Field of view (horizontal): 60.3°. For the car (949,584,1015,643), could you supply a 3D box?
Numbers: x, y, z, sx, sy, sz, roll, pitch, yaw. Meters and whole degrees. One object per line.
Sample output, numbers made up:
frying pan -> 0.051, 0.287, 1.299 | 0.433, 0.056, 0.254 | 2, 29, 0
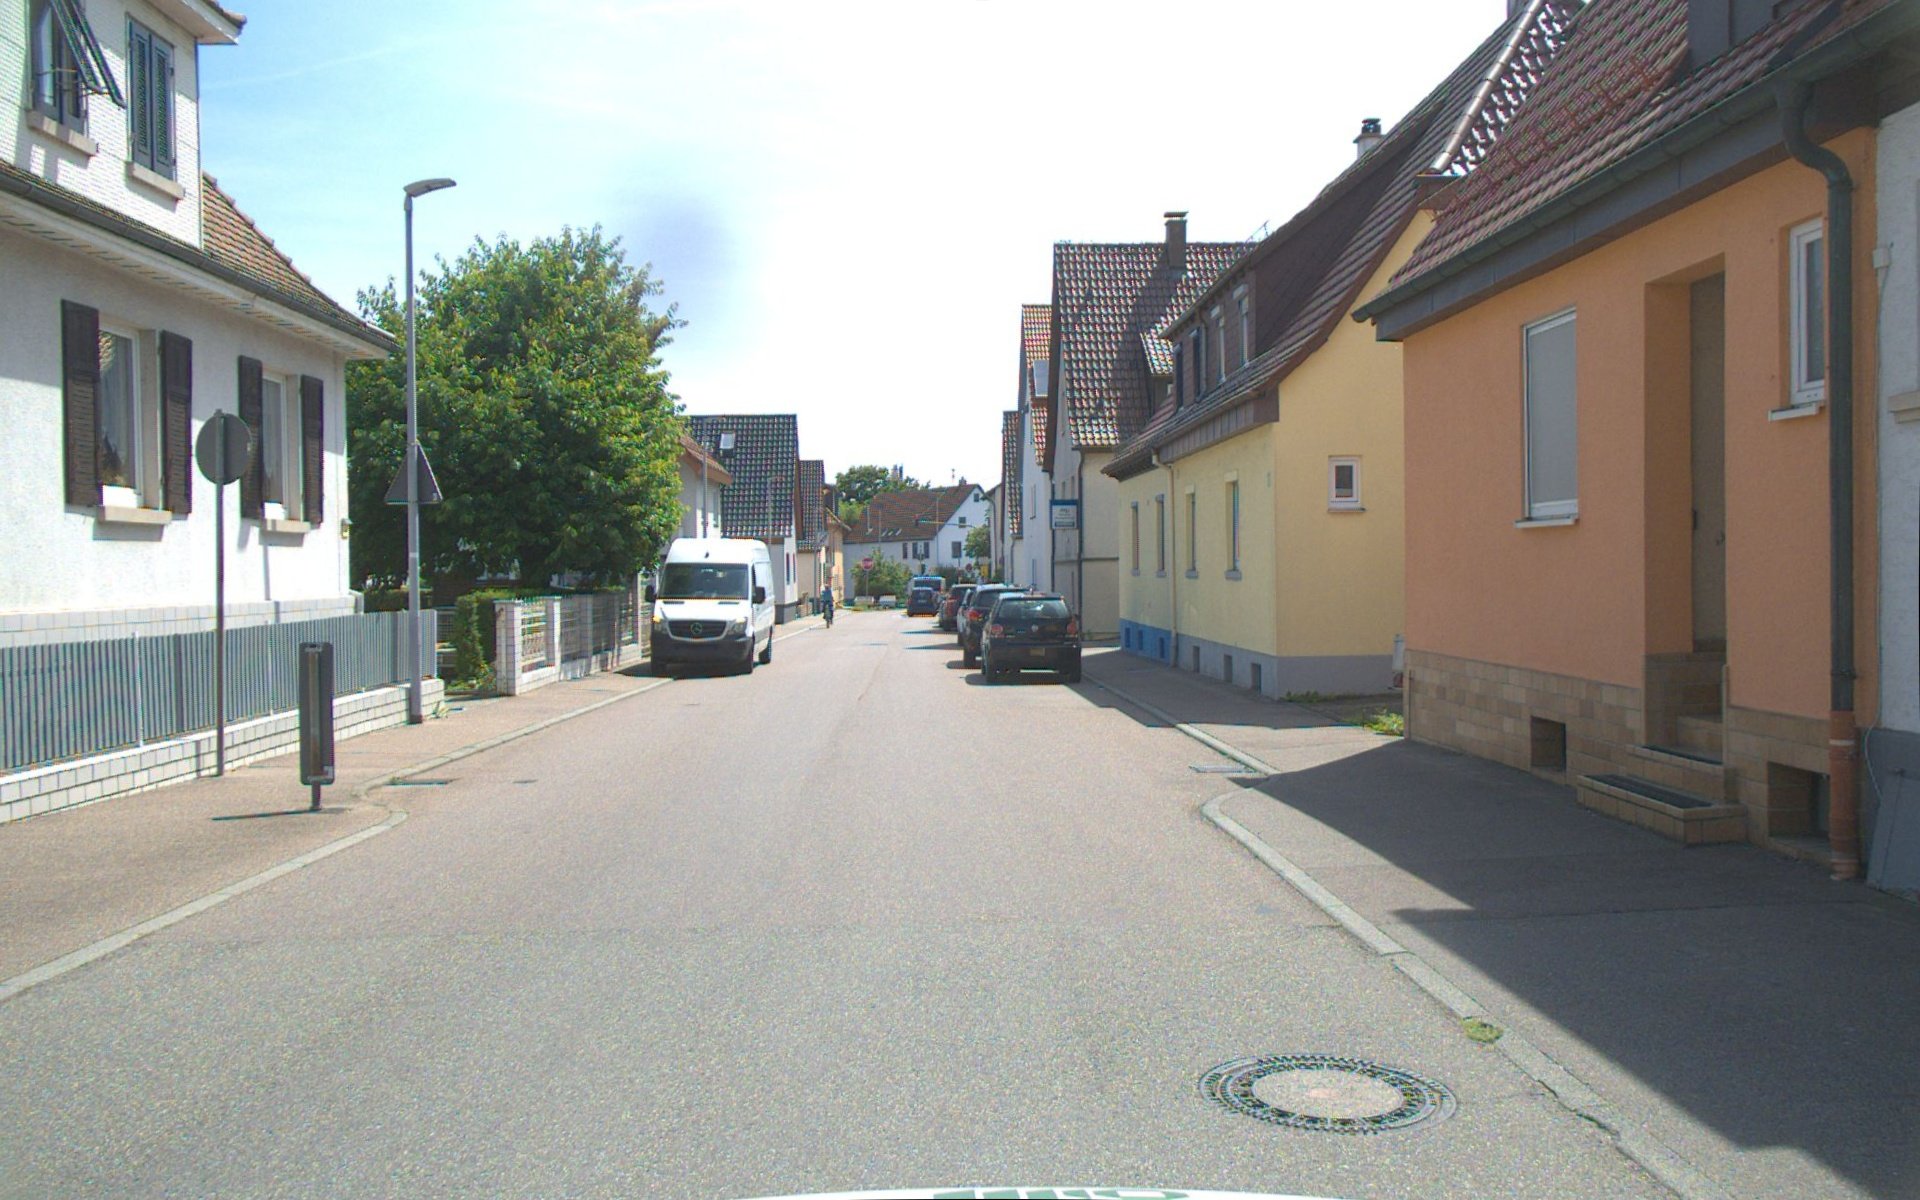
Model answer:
car -> 0.584, 0.358, 46.047 | 1.640, 1.586, 3.038 | 0, 0, -4

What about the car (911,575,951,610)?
car -> -1.836, -0.507, 106.309 | 2.084, 2.196, 4.739 | -1, 0, 4

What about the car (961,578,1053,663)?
car -> 0.910, 0.375, 34.115 | 1.693, 1.627, 4.252 | 0, 0, -1

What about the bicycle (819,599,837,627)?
bicycle -> -5.519, 0.533, 69.288 | 0.657, 1.152, 2.188 | 0, 0, -3

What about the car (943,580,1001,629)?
car -> 0.402, 0.133, 61.011 | 1.838, 1.730, 4.180 | 0, 0, -4

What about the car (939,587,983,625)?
car -> 0.045, 0.218, 67.252 | 1.727, 1.448, 4.591 | 0, 0, 0

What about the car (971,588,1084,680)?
car -> 1.103, 0.534, 28.562 | 1.579, 1.456, 3.751 | 0, 0, -4

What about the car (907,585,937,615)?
car -> -2.083, -0.013, 92.090 | 1.484, 1.594, 3.185 | 0, 0, 2

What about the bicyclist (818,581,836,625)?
bicyclist -> -5.583, 0.125, 69.317 | 0.699, 1.830, 0.941 | 0, 0, -4

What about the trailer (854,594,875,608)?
trailer -> -7.010, 0.067, 121.800 | 1.471, 0.943, 1.012 | 1, 0, 0

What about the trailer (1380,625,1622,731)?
trailer -> 5.369, 0.739, 16.396 | 2.114, 0.915, 1.229 | -1, 0, -32

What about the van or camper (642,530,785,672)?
van or camper -> -4.921, -0.008, 34.048 | 2.140, 2.616, 6.805 | 0, 0, -2
